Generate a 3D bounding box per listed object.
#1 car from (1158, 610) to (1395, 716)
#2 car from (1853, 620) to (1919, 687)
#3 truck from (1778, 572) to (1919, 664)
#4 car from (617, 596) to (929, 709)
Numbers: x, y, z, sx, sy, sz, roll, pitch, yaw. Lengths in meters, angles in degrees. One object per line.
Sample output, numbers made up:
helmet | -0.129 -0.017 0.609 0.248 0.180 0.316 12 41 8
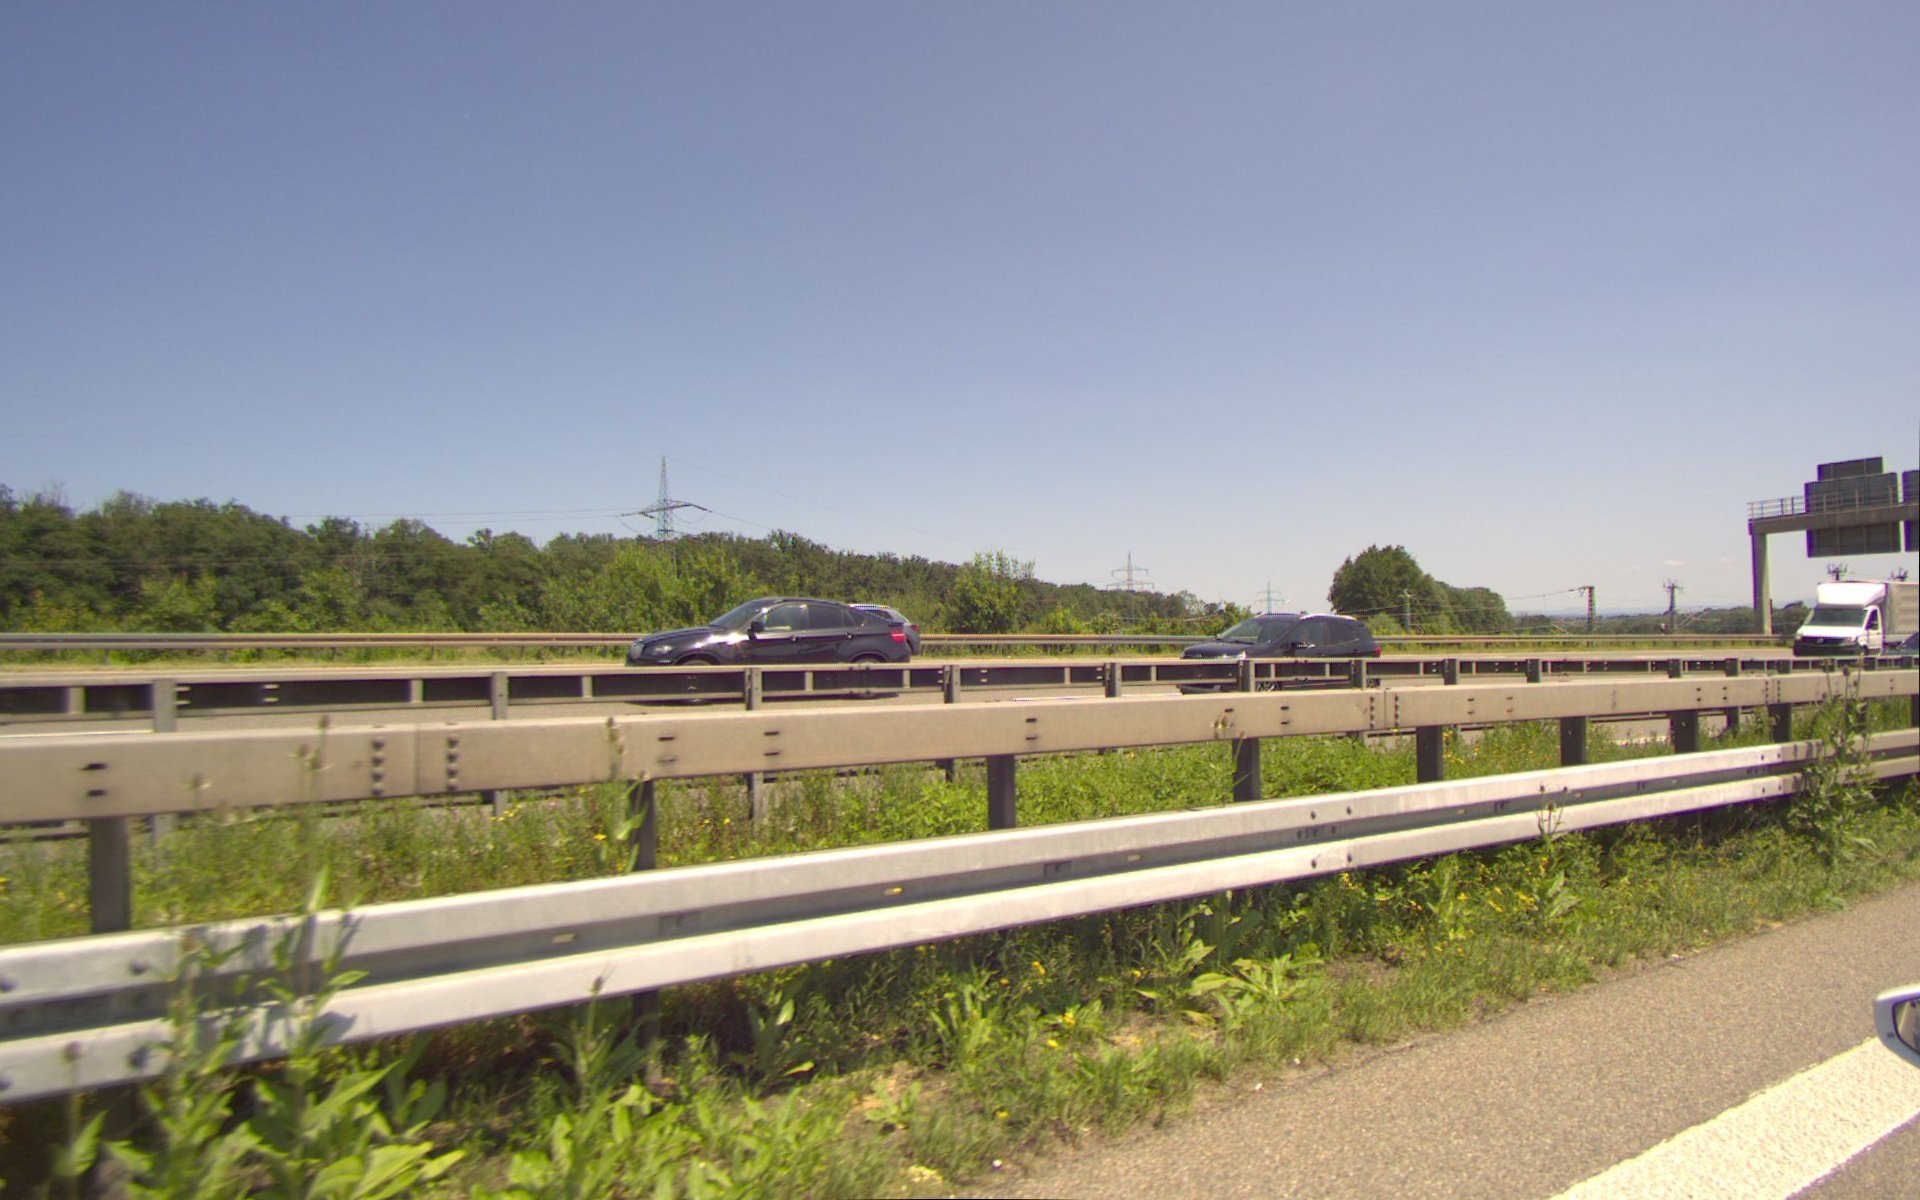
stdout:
car | 5.543 1.047 17.476 4.038 1.646 1.667 2 -1 -31
car | 25.671 1.394 26.554 4.775 1.646 1.739 2 -1 -31
truck | 35.028 0.739 39.188 7.573 3.321 2.364 2 -1 -31
car | -3.100 0.827 16.960 4.851 1.677 1.838 1 0 -30
